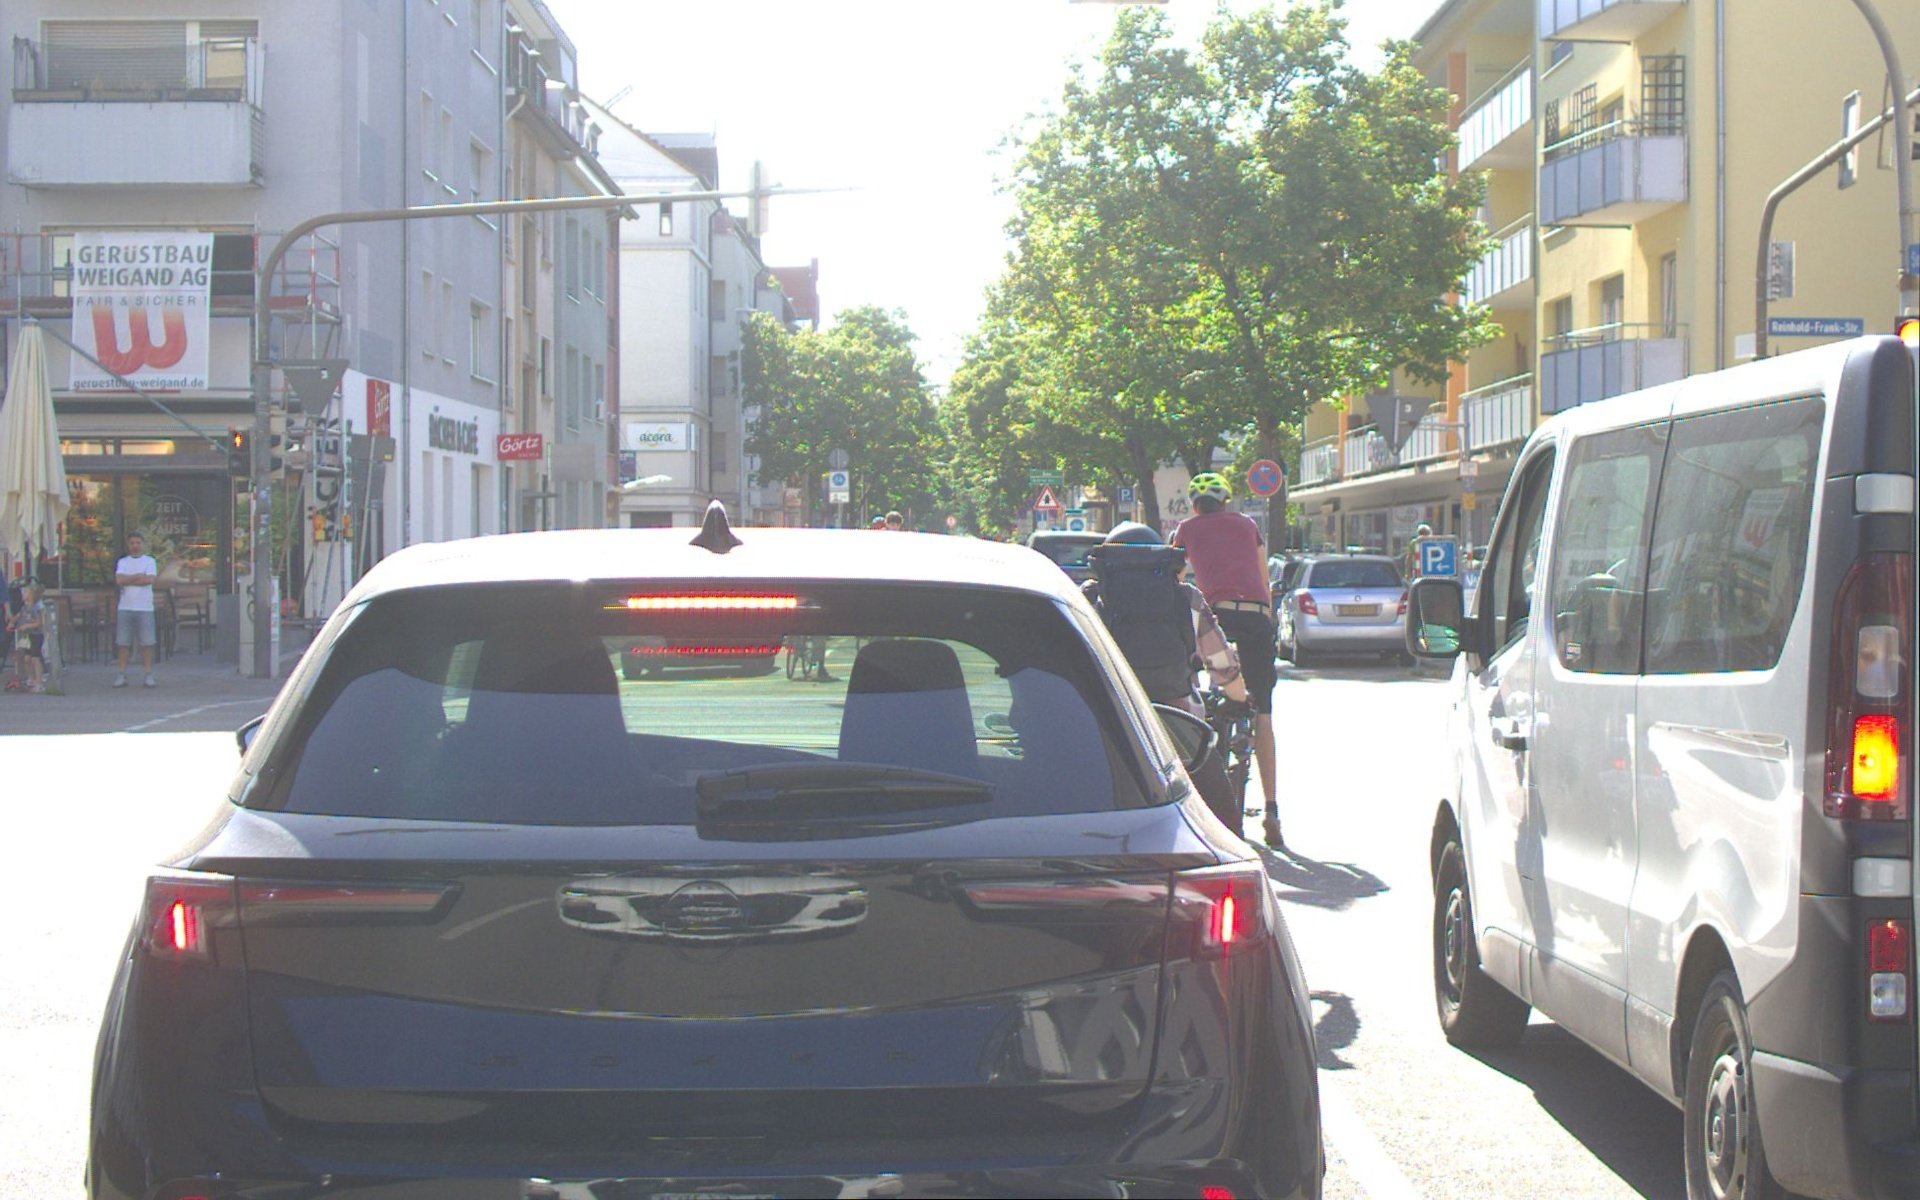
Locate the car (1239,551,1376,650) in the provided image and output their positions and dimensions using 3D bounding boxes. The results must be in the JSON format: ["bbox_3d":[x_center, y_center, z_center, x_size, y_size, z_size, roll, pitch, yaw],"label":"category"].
[{"bbox_3d":[5.215,-0.017,51.995,1.634,1.428,4.000,0,1,-1],"label":"car"}]

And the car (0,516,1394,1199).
[{"bbox_3d":[-0.416,0.623,6.334,1.770,1.525,4.001,0,1,-2],"label":"car"}]

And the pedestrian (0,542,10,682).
[{"bbox_3d":[-10.733,0.131,37.496,0.584,1.516,0.650,0,1,-3],"label":"pedestrian"}]

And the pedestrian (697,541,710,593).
[{"bbox_3d":[-8.208,-1.055,110.084,0.402,1.669,0.418,0,1,-1],"label":"pedestrian"}]

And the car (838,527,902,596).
[{"bbox_3d":[-2.673,-1.166,102.741,1.855,2.007,3.881,0,1,-1],"label":"car"}]

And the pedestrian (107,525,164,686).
[{"bbox_3d":[-9.135,0.053,38.109,0.561,1.769,0.584,0,1,-9],"label":"pedestrian"}]

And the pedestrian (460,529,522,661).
[{"bbox_3d":[-5.967,-0.068,43.783,0.707,1.672,0.802,0,1,-2],"label":"pedestrian"}]

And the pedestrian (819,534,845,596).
[{"bbox_3d":[-3.469,-0.947,93.225,0.570,1.684,0.588,0,1,10],"label":"pedestrian"}]

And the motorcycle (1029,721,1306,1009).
[{"bbox_3d":[0.695,0.896,12.127,0.825,0.842,1.885,0,1,-1],"label":"motorcycle"}]

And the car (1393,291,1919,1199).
[{"bbox_3d":[2.446,0.428,8.471,1.993,1.972,4.896,1,1,-1],"label":"car"}]

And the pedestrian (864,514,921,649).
[{"bbox_3d":[-0.858,-0.242,43.633,0.707,1.695,0.802,0,1,-2],"label":"pedestrian"}]

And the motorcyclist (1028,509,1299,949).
[{"bbox_3d":[0.705,0.432,12.295,0.864,1.497,1.160,0,1,-2],"label":"motorcyclist"}]

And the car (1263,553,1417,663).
[{"bbox_3d":[5.178,0.082,47.278,1.634,1.428,3.957,0,1,-1],"label":"car"}]

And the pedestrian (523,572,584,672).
[{"bbox_3d":[-5.135,0.277,43.490,0.707,1.249,0.802,0,1,-2],"label":"pedestrian"}]

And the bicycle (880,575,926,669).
[{"bbox_3d":[-0.734,0.267,43.892,0.521,1.143,2.170,0,1,-2],"label":"bicycle"}]

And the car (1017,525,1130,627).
[{"bbox_3d":[1.962,-0.441,60.292,1.902,1.722,4.073,0,1,1],"label":"car"}]

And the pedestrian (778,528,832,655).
[{"bbox_3d":[-1.973,-0.112,43.750,0.680,1.600,0.762,0,1,-2],"label":"pedestrian"}]

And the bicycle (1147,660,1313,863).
[{"bbox_3d":[1.360,0.798,17.679,0.577,0.901,2.301,0,1,-2],"label":"bicycle"}]

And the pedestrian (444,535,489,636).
[{"bbox_3d":[-7.425,-0.226,51.759,0.617,1.516,0.725,0,1,-3],"label":"pedestrian"}]

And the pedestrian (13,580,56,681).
[{"bbox_3d":[-10.064,0.330,37.382,0.355,1.088,0.462,0,1,-3],"label":"pedestrian"}]

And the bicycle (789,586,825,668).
[{"bbox_3d":[-1.947,0.332,43.821,0.443,0.989,2.069,0,1,-2],"label":"bicycle"}]

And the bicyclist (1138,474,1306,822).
[{"bbox_3d":[1.325,0.224,17.593,0.689,1.707,1.414,0,1,-2],"label":"bicyclist"}]

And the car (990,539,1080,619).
[{"bbox_3d":[1.627,-0.488,76.024,1.902,1.722,4.000,0,1,0],"label":"car"}]

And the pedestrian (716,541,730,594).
[{"bbox_3d":[-7.564,-1.043,109.654,0.402,1.669,0.418,0,1,-1],"label":"pedestrian"}]

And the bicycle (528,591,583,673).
[{"bbox_3d":[-5.163,0.398,43.932,0.521,0.989,2.340,0,1,-2],"label":"bicycle"}]

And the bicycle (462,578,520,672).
[{"bbox_3d":[-5.979,0.305,43.915,0.521,1.143,2.284,0,1,-2],"label":"bicycle"}]
